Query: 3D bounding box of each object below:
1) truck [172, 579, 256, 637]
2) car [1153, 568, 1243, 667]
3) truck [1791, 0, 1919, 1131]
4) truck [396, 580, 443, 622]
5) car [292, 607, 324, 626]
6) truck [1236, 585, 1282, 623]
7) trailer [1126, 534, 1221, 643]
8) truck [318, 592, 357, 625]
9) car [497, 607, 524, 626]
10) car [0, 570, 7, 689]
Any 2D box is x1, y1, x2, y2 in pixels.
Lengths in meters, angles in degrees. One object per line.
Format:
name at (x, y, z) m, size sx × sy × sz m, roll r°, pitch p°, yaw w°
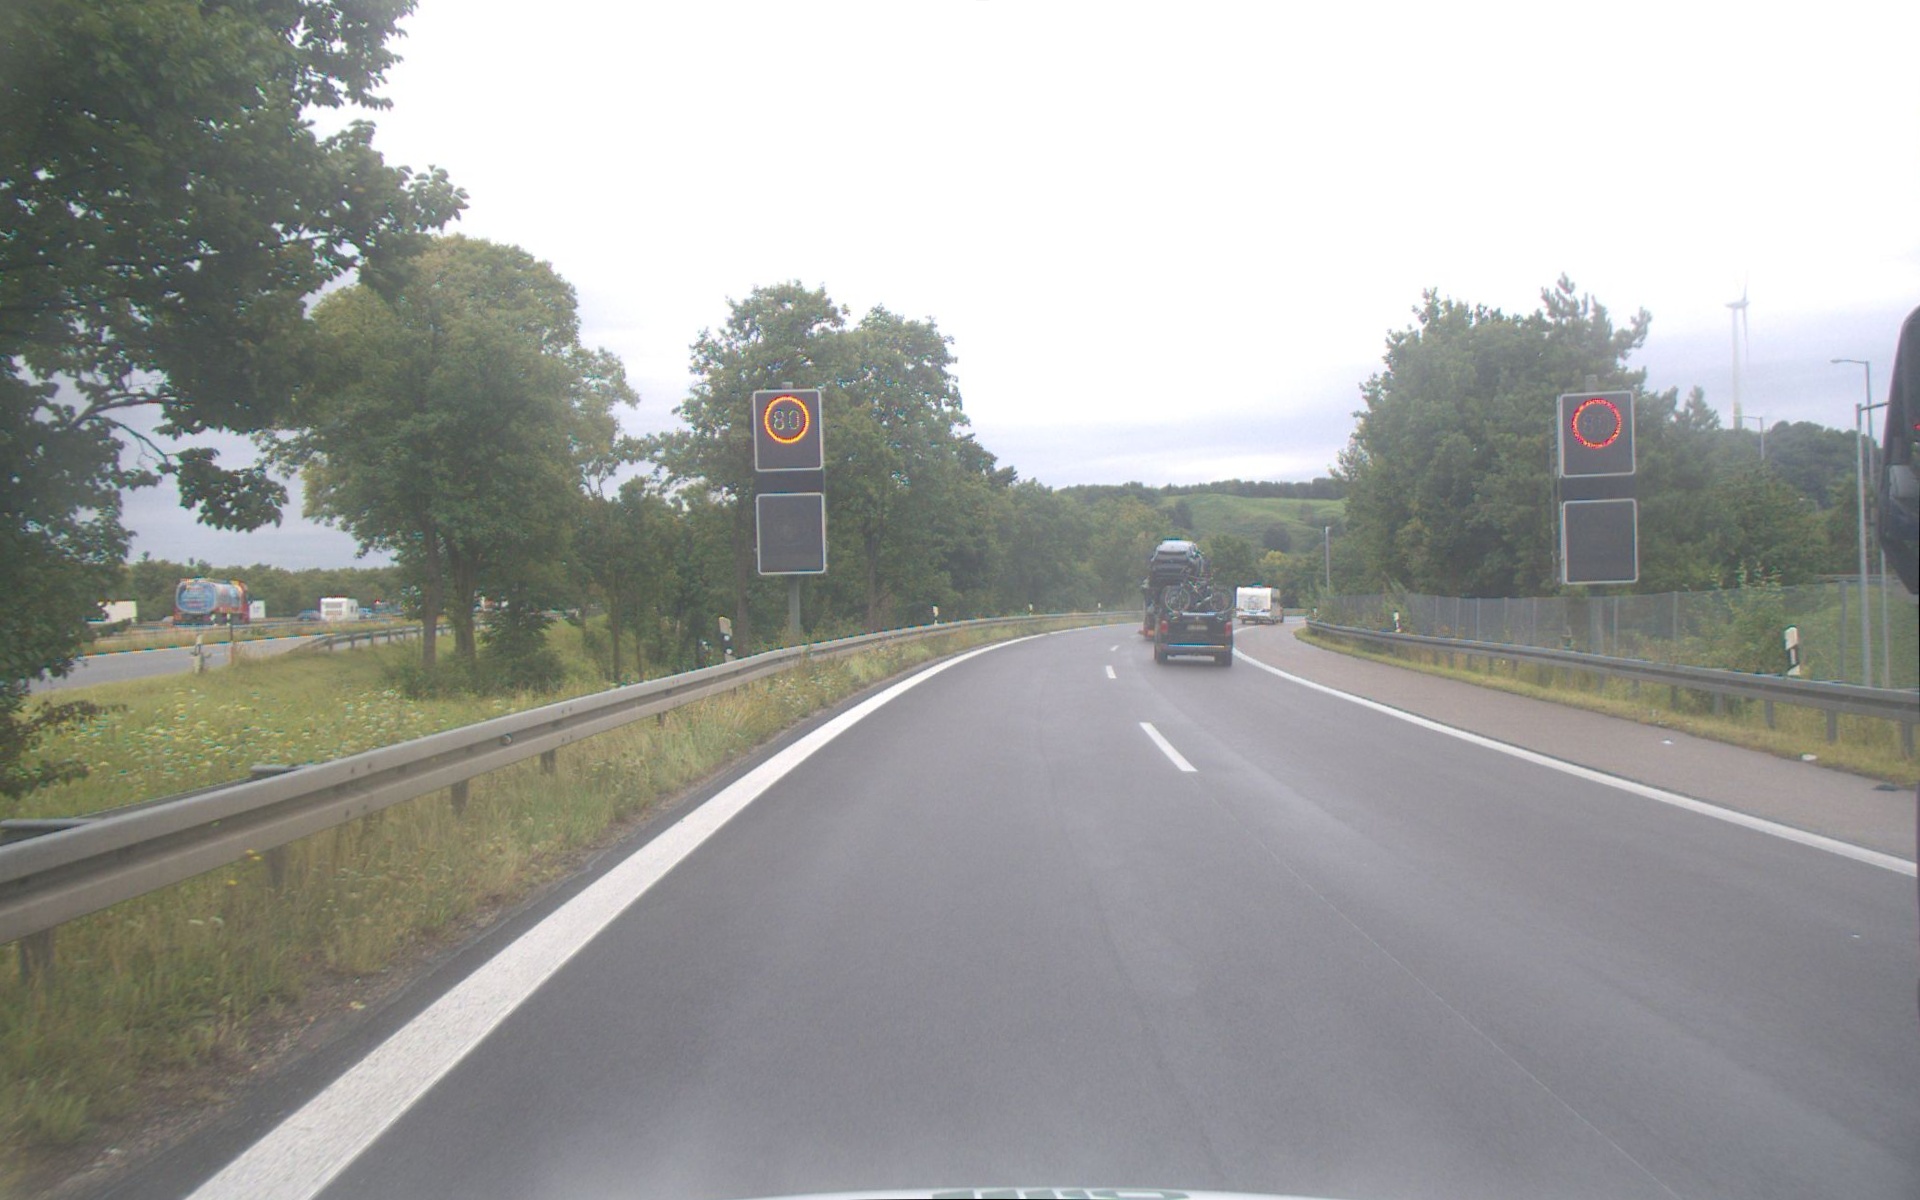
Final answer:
truck at (-46.566, 0.483, 103.514) m, size 2.806 × 3.424 × 8.607 m, roll -1°, pitch 0°, yaw -11°
car at (5.951, 0.407, 41.931) m, size 2.065 × 2.304 × 5.901 m, roll -1°, pitch 0°, yaw 6°
truck at (4.229, -0.459, 1.005) m, size 2.683 × 4.037 × 9.126 m, roll 2°, pitch 0°, yaw -1°
truck at (-59.683, 0.103, 182.764) m, size 3.666 × 4.494 × 10.167 m, roll 0°, pitch 0°, yaw -11°
car at (-57.192, 1.444, 145.133) m, size 1.851 × 1.601 × 3.989 m, roll 0°, pitch -1°, yaw -11°
truck at (21.709, 0.276, 119.892) m, size 2.592 × 2.651 × 6.423 m, roll -1°, pitch 0°, yaw 17°
trailer at (8.760, -0.472, 69.301) m, size 3.376 × 4.069 × 12.034 m, roll 2°, pitch 0°, yaw 5°
truck at (-53.112, 0.683, 141.193) m, size 2.203 × 2.751 × 5.265 m, roll 0°, pitch 0°, yaw -11°
car at (-40.044, 1.491, 147.471) m, size 1.926 × 1.666 × 5.609 m, roll 0°, pitch -1°, yaw -11°
car at (-19.264, 0.575, 29.213) m, size 2.330 × 2.306 × 6.239 m, roll 0°, pitch 0°, yaw -11°
